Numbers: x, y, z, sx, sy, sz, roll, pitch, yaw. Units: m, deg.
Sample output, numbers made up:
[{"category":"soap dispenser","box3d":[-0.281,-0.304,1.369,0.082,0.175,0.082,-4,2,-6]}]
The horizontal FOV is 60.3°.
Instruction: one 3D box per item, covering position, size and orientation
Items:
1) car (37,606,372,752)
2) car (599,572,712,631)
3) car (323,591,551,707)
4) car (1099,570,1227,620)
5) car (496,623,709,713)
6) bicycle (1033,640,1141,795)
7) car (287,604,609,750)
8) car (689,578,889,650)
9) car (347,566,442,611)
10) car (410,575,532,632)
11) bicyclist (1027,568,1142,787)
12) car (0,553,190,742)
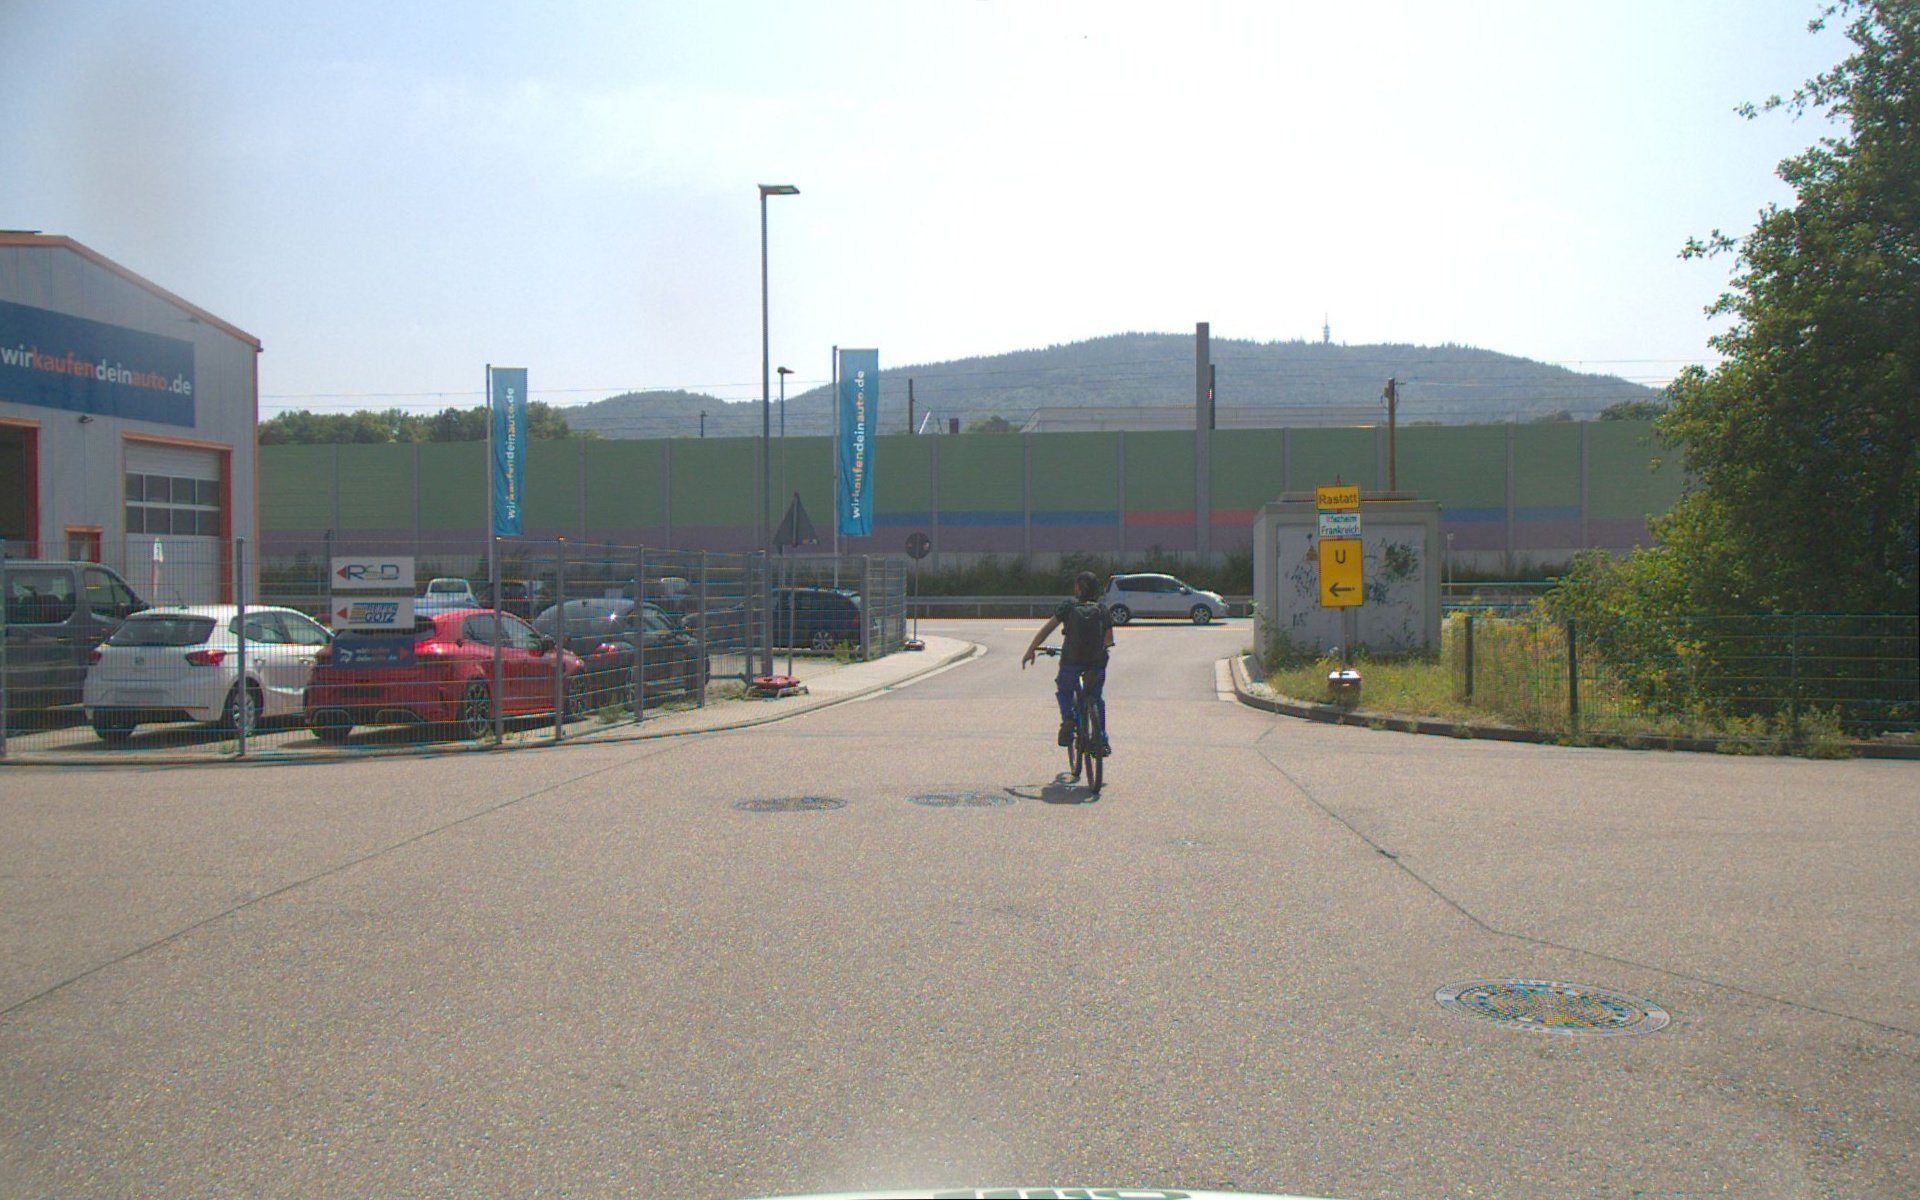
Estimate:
[{"category":"car","box3d":[-8.443,0.818,18.841,1.708,1.429,3.607,0,1,10]},{"category":"car","box3d":[-8.617,0.016,47.168,1.951,1.609,4.004,-1,1,8]},{"category":"car","box3d":[-7.360,0.639,23.657,1.452,1.480,3.898,0,1,10]},{"category":"car","box3d":[6.474,-0.160,52.482,3.901,1.518,2.002,0,1,10]},{"category":"car","box3d":[-4.891,0.904,23.182,1.452,1.024,4.117,0,1,10]},{"category":"bicycle","box3d":[0.967,0.877,12.998,0.671,1.070,1.900,-1,0,-1]},{"category":"car","box3d":[-5.695,0.791,18.974,1.829,1.411,4.117,0,1,10]},{"category":"car","box3d":[-3.729,0.299,36.333,3.902,1.518,2.002,0,1,14]},{"category":"car","box3d":[-21.807,-0.475,63.951,1.662,1.686,4.004,0,1,11]},{"category":"car","box3d":[-14.488,0.076,49.192,1.951,1.609,4.004,-1,1,8]},{"category":"bicyclist","box3d":[0.957,0.584,12.943,0.825,1.647,1.039,0,-1,0]},{"category":"car","box3d":[-11.259,0.513,19.238,1.909,2.066,4.522,0,1,10]}]
